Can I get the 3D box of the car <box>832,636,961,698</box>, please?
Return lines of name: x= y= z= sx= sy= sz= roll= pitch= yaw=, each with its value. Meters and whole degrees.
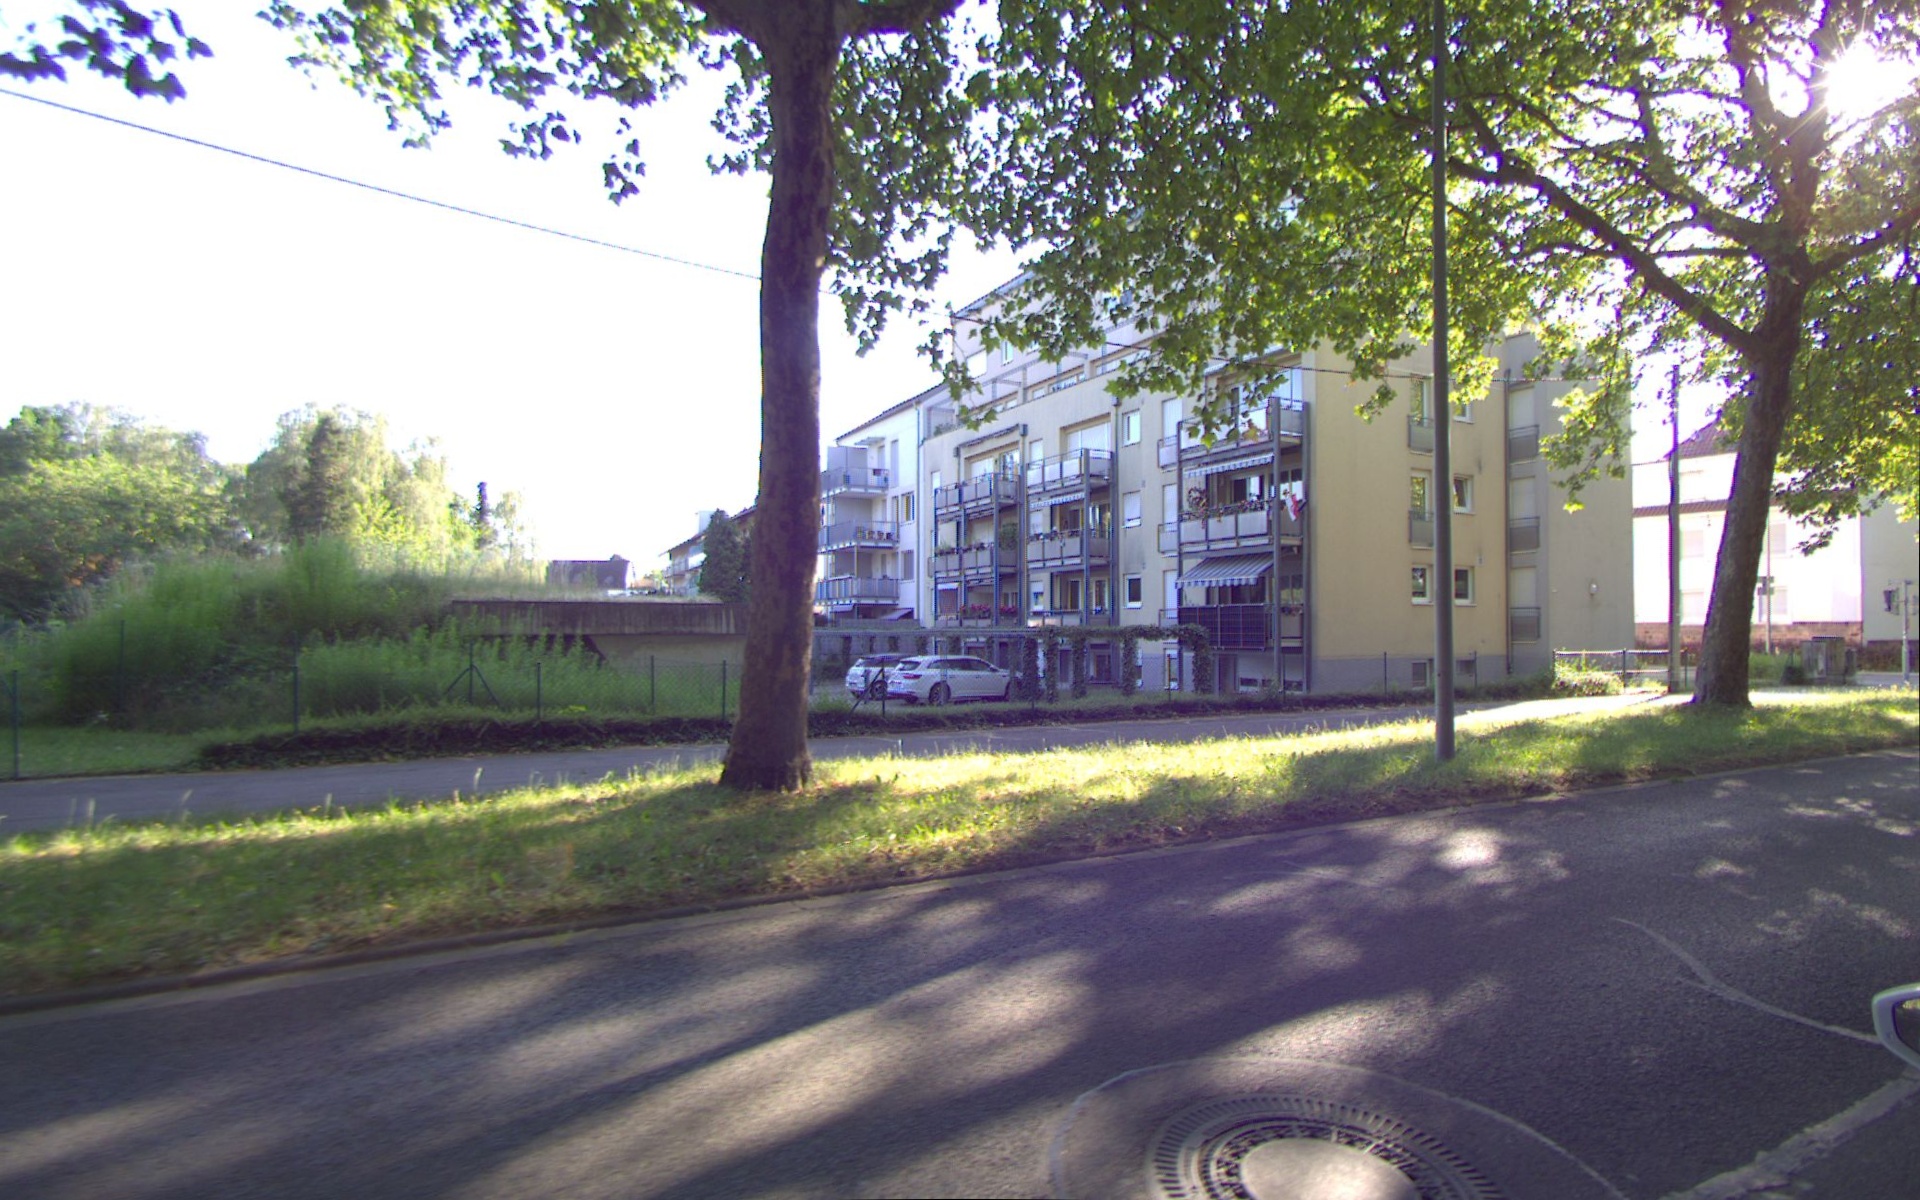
car: x=-2.122 y=2.215 z=33.897 sx=3.953 sy=1.871 sz=1.840 roll=0 pitch=0 yaw=-31

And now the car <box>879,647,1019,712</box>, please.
car: x=-0.332 y=2.420 z=31.330 sx=3.958 sy=1.736 sz=1.981 roll=1 pitch=0 yaw=-34
